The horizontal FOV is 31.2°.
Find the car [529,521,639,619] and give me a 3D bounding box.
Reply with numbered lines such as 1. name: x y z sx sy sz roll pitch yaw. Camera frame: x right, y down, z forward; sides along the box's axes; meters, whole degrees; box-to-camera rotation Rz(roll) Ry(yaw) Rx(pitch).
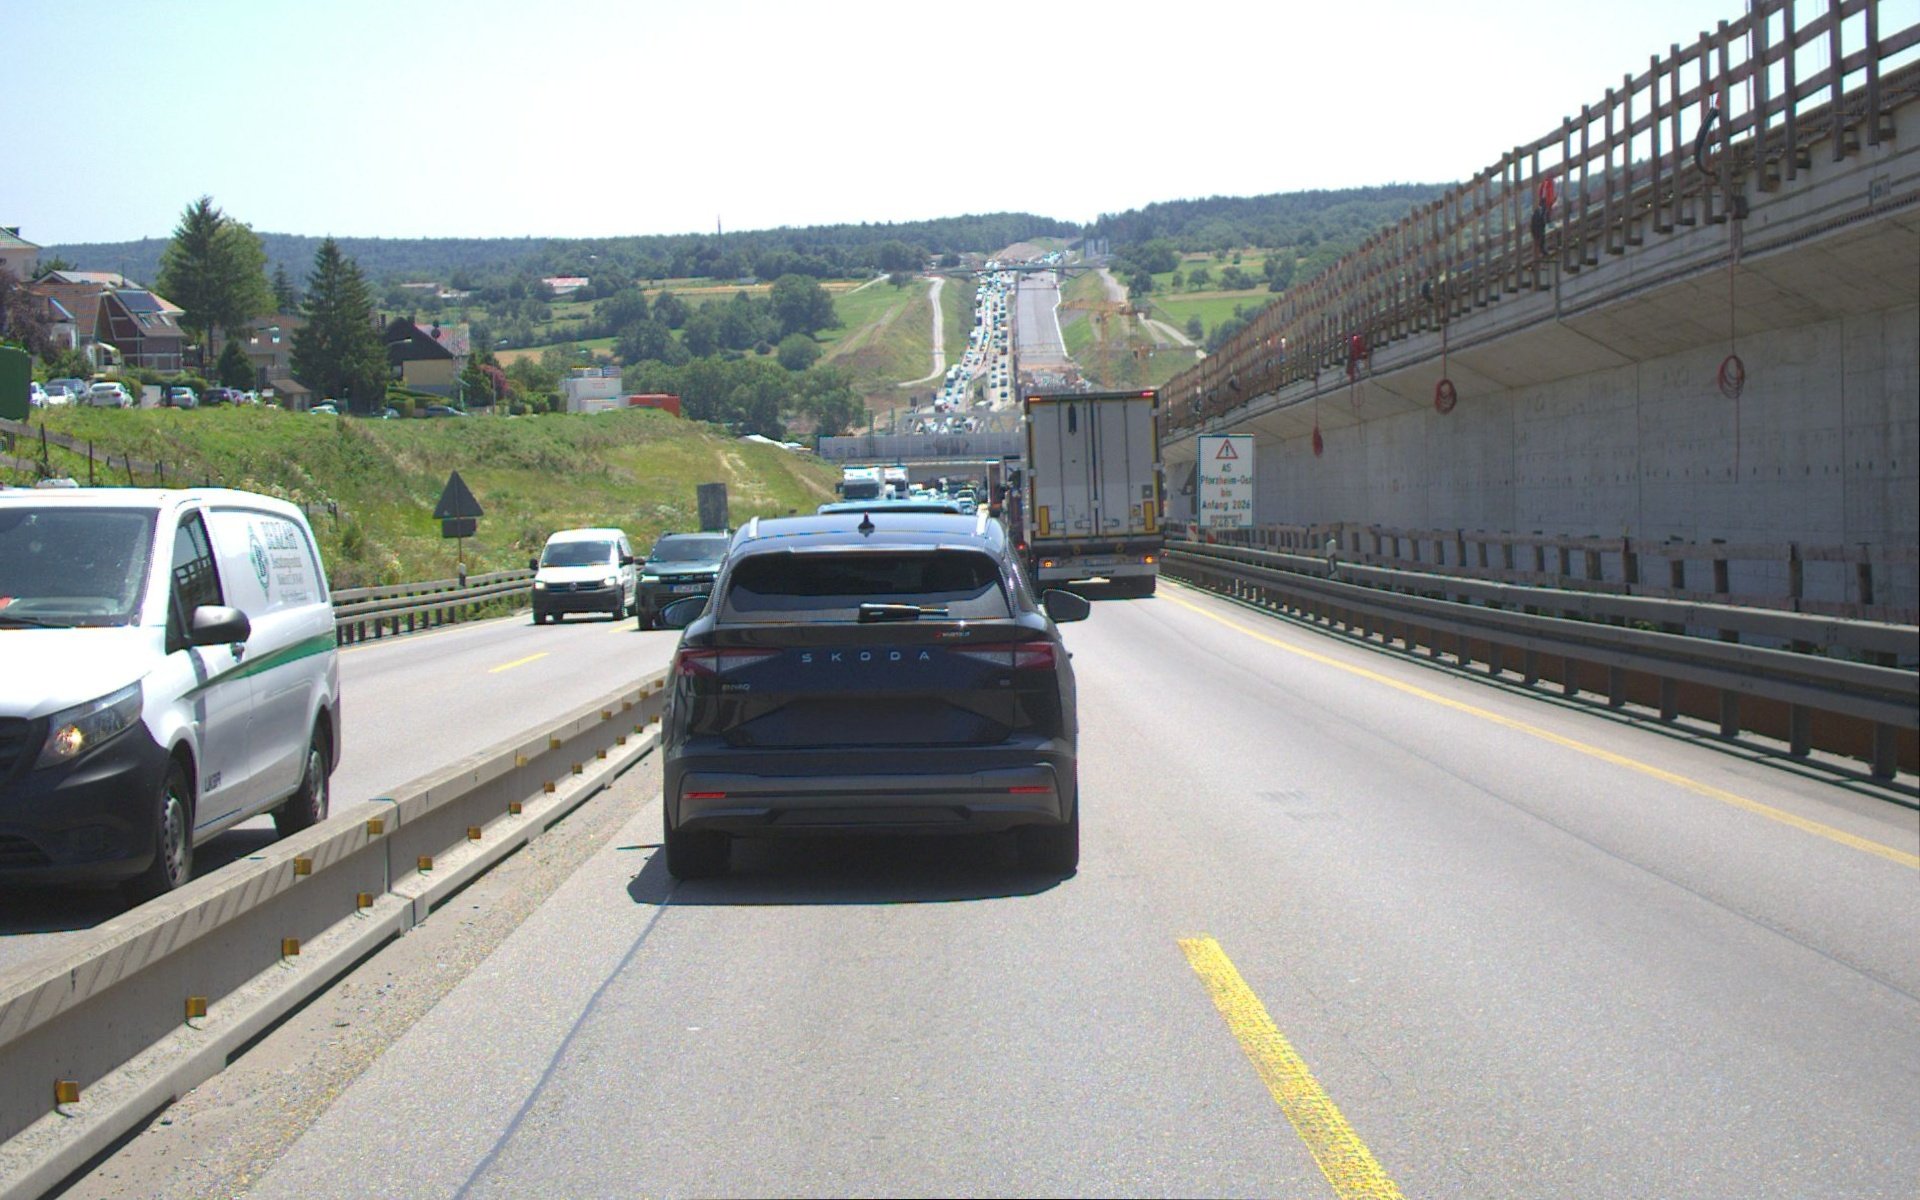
1. car: -7.454 -0.603 68.486 1.596 1.827 4.753 -2 1 0

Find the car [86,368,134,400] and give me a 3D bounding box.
1. car: -41.283 -10.505 167.059 1.993 1.315 4.001 1 1 -10

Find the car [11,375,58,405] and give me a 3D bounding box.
1. car: -37.688 -8.561 140.023 1.280 1.035 3.276 -3 1 -5

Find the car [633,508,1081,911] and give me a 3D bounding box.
1. car: -0.450 0.414 16.054 1.782 1.592 3.755 -2 1 -1

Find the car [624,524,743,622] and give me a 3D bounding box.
1. car: -4.816 -0.500 60.324 1.774 1.628 4.100 -1 1 -1

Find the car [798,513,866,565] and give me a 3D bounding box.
1. car: -3.939 -1.873 106.498 1.606 1.441 4.669 -5 0 3

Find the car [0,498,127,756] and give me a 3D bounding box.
1. car: -8.036 0.183 26.681 1.825 1.919 5.244 -1 1 0

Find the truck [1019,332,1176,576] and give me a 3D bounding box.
1. truck: 2.734 -2.849 71.707 2.846 4.599 11.811 -1 1 1

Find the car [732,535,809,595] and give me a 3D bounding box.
1. car: -4.650 -0.858 84.723 1.732 1.433 4.259 0 1 -1

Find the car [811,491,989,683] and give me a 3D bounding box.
1. car: -0.659 -0.163 35.843 1.749 1.888 3.756 0 1 -2

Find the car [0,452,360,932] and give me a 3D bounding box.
1. car: -4.371 0.344 16.285 2.157 1.899 5.326 -1 1 -1

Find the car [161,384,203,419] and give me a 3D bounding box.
1. car: -42.289 -10.778 186.923 1.924 1.722 4.001 -3 1 -10

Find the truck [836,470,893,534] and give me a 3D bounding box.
1. truck: -6.699 -6.801 240.281 3.179 4.223 6.486 -2 1 -8
